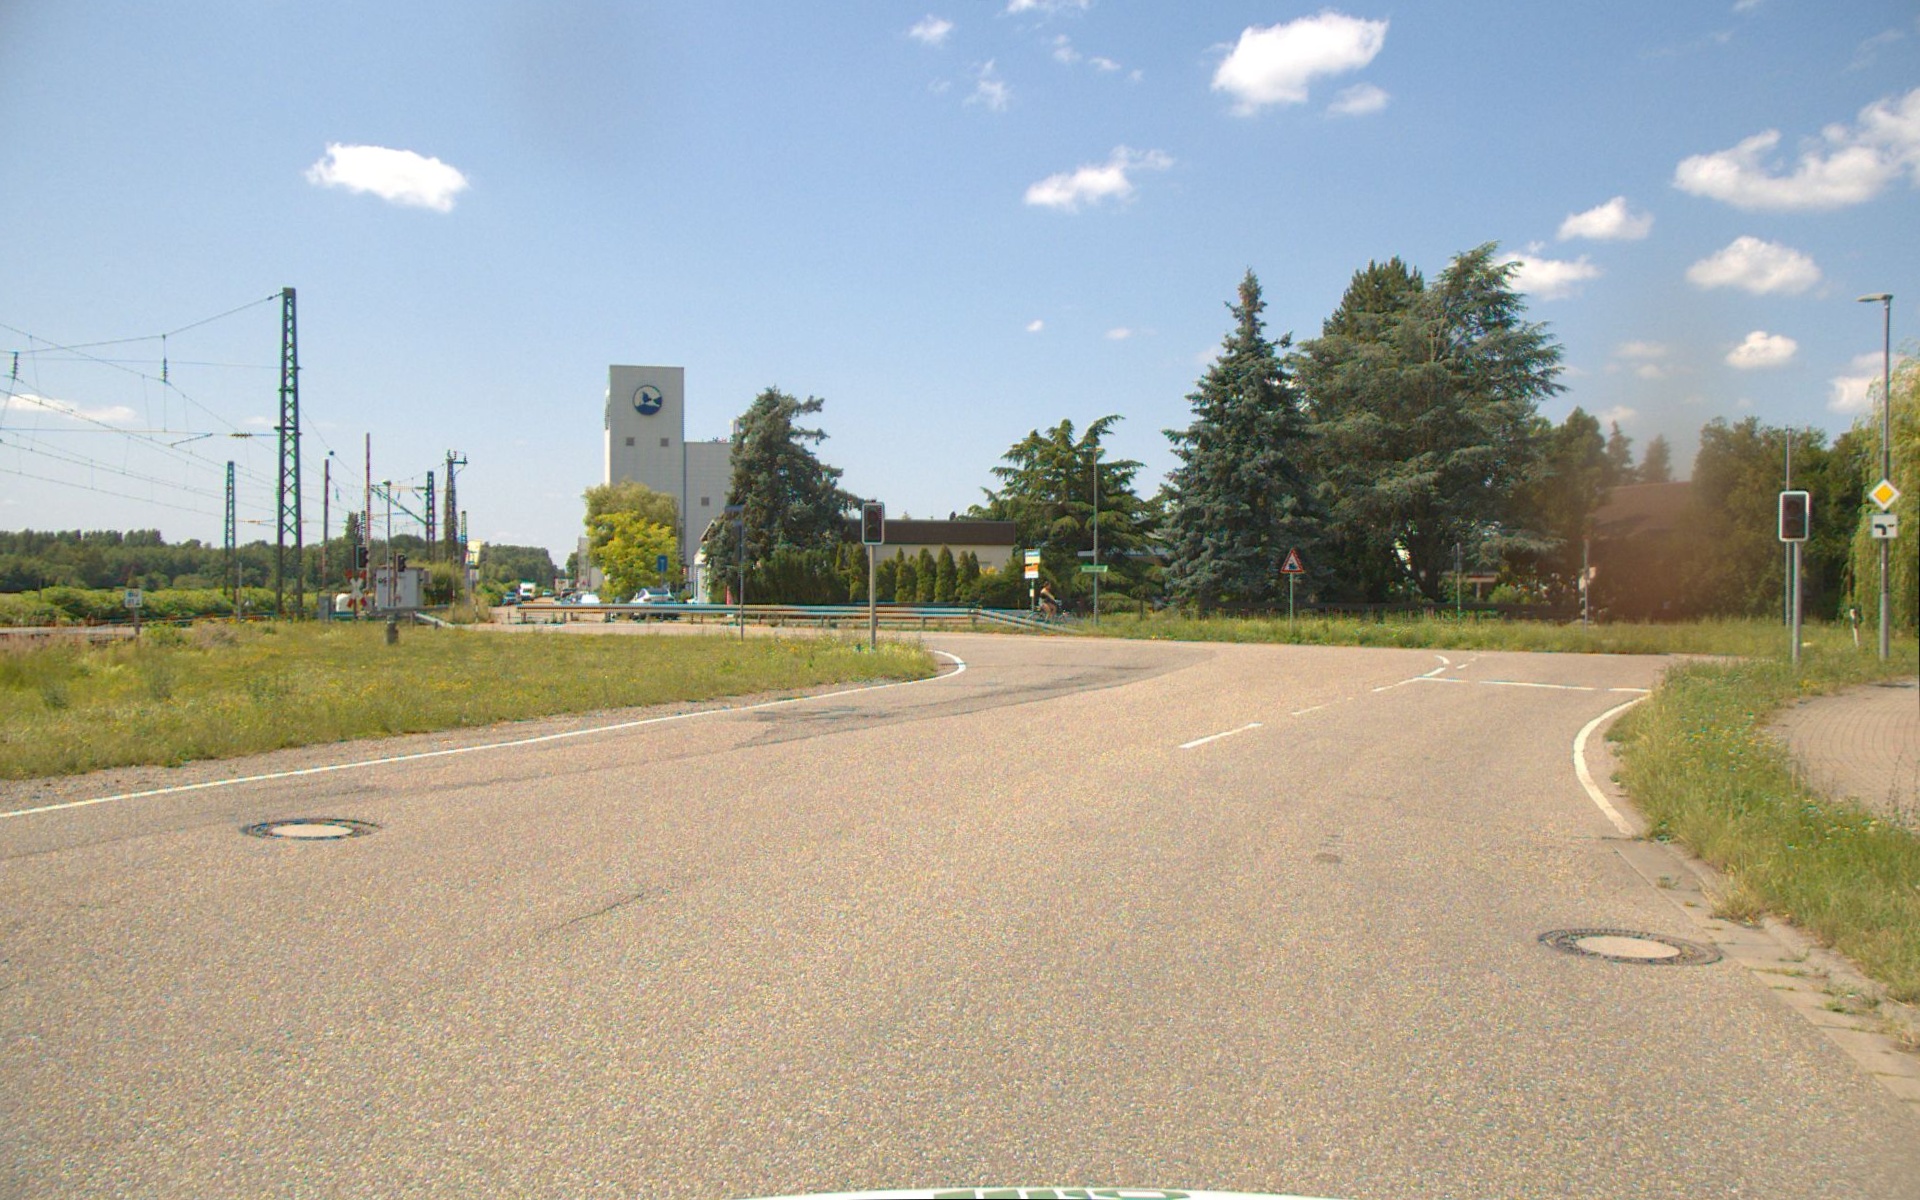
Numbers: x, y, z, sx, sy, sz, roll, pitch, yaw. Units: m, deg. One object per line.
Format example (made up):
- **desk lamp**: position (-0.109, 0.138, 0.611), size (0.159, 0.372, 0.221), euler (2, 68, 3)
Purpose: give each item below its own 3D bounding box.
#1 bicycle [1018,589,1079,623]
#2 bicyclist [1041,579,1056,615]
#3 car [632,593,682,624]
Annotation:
- **bicycle**: position (3.126, 0.197, 58.536), size (2.094, 1.185, 0.662), euler (0, 1, 8)
- **bicyclist**: position (3.134, -0.101, 58.517), size (0.499, 1.277, 0.470), euler (0, 1, 8)
- **car**: position (-15.716, 0.408, 85.616), size (1.963, 1.536, 4.431), euler (0, 1, -18)
